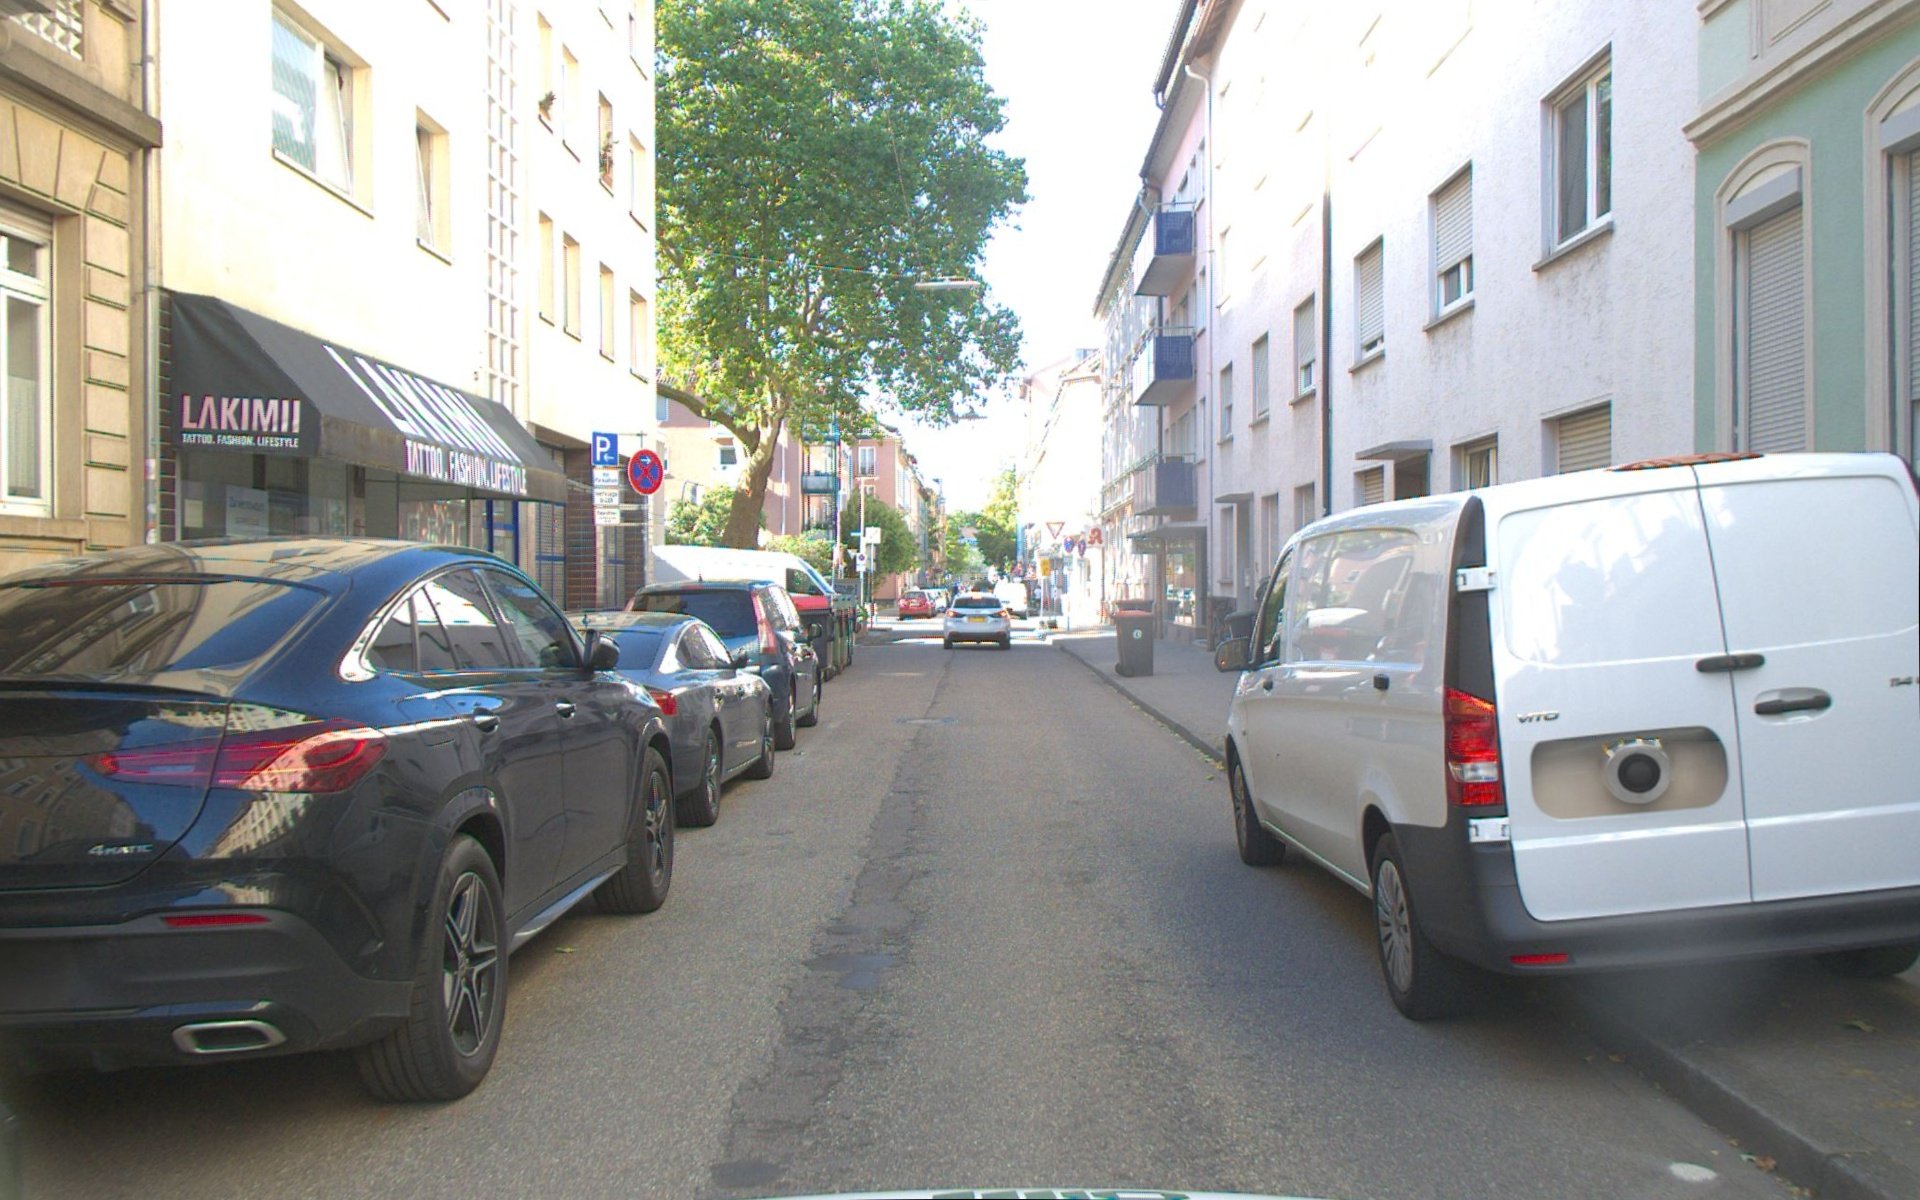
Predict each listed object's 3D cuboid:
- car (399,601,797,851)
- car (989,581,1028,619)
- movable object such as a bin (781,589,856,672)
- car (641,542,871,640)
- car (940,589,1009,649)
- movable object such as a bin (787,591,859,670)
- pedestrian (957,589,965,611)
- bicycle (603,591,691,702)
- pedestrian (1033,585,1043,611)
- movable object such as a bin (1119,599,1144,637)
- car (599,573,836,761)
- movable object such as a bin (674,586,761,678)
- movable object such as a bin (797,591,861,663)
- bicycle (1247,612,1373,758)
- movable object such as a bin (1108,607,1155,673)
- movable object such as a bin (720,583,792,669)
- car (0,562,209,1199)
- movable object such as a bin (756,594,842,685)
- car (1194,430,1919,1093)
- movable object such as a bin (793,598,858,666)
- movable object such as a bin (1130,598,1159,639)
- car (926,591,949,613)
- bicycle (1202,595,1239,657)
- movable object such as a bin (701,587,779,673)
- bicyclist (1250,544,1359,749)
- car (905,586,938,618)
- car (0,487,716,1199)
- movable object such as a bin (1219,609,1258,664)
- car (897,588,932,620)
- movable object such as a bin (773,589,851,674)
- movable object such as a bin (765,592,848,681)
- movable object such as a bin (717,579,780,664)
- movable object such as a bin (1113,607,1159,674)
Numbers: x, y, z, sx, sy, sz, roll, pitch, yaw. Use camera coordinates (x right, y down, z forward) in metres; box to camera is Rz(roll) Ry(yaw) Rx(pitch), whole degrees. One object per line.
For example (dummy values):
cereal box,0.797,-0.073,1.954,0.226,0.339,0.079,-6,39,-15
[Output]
car,-2.414,0.771,12.340,1.807,1.441,4.818,-2,0,1
car,2.627,-0.010,90.553,1.903,1.982,4.077,1,0,-2
movable object such as a bin,-2.660,0.571,31.219,1.315,1.525,1.018,0,-1,0
car,-6.175,-0.255,50.659,6.599,2.599,2.146,3,0,2
car,0.381,0.472,44.663,1.786,1.540,3.823,0,0,0
movable object such as a bin,-2.665,0.583,32.288,1.307,1.517,1.082,0,-1,0
pedestrian,0.108,-0.002,132.780,0.634,1.828,0.639,0,-1,1
bicycle,-4.077,0.607,21.666,0.455,1.354,1.855,4,-1,9
pedestrian,5.483,-0.139,116.312,0.604,1.764,0.560,0,-1,0
movable object such as a bin,4.958,0.507,47.932,0.687,1.092,0.596,0,-1,2
car,-2.431,0.608,17.722,1.746,1.696,4.671,-2,0,1
movable object such as a bin,-4.087,0.529,27.983,1.270,1.524,1.179,0,-1,0
movable object such as a bin,-2.714,0.554,34.479,1.274,1.476,1.117,0,-1,-3
bicycle,3.169,0.738,15.156,0.650,1.156,1.988,-3,1,-1
movable object such as a bin,2.952,0.683,28.482,0.752,1.105,0.693,0,-1,2
movable object such as a bin,-3.969,0.505,32.285,1.262,1.632,1.082,0,-1,0
car,-2.373,0.747,1.021,1.678,1.558,4.368,-1,0,2
movable object such as a bin,-2.713,0.655,27.965,1.292,1.476,1.187,-2,-1,0
car,2.508,0.449,7.821,1.943,1.916,5.600,-4,0,0
movable object such as a bin,-2.698,0.642,33.379,1.215,1.345,1.046,0,-1,0
movable object such as a bin,5.138,0.508,45.985,0.715,1.123,0.693,0,-1,-2
car,-1.596,0.150,119.602,1.540,1.613,3.611,0,0,1
bicycle,5.064,0.496,32.173,0.444,1.154,1.920,-3,0,2
movable object such as a bin,-4.003,0.539,30.218,1.275,1.549,1.018,0,-1,0
bicyclist,3.143,0.406,15.150,0.744,1.801,0.822,-3,1,-1
car,-2.126,0.117,92.982,1.685,1.712,3.726,0,0,1
car,-2.343,0.617,6.540,1.896,1.766,5.142,-1,0,1
movable object such as a bin,4.946,0.643,29.434,0.585,0.968,0.682,0,-1,2
car,-2.380,0.184,87.385,1.733,1.616,3.726,0,1,0
movable object such as a bin,-2.691,0.563,30.184,1.321,1.513,1.003,0,-1,0
movable object such as a bin,-2.695,0.636,29.139,1.306,1.510,1.093,-2,-1,0
movable object such as a bin,-4.272,0.435,33.556,1.203,1.682,1.172,0,-1,-5
movable object such as a bin,2.951,0.673,27.768,0.717,1.099,0.703,0,-1,2
